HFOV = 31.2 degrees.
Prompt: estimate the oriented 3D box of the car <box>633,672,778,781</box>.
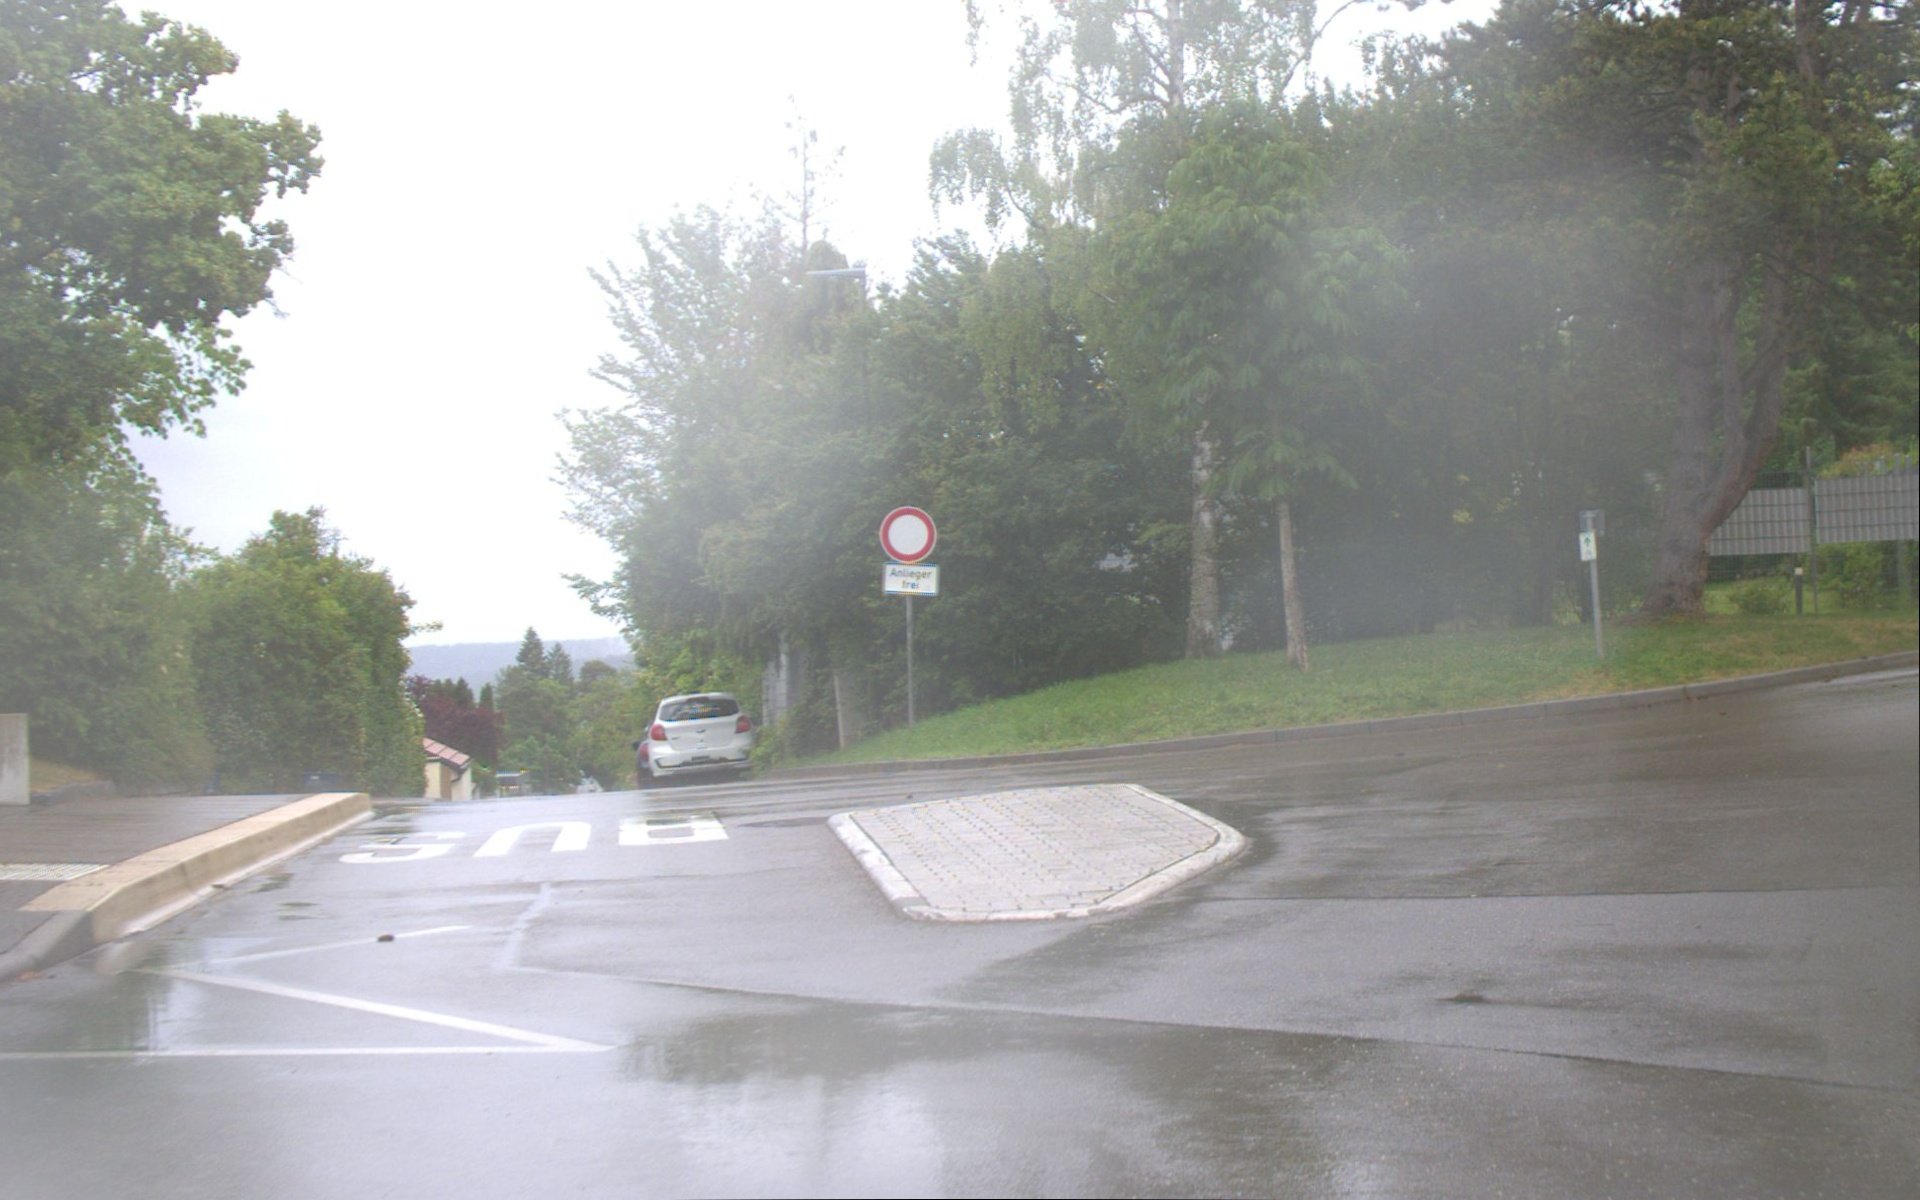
[{"bbox_3d":[-3.979,2.028,54.297,1.993,1.578,3.999,-1,-3,-1],"label":"car"}]
